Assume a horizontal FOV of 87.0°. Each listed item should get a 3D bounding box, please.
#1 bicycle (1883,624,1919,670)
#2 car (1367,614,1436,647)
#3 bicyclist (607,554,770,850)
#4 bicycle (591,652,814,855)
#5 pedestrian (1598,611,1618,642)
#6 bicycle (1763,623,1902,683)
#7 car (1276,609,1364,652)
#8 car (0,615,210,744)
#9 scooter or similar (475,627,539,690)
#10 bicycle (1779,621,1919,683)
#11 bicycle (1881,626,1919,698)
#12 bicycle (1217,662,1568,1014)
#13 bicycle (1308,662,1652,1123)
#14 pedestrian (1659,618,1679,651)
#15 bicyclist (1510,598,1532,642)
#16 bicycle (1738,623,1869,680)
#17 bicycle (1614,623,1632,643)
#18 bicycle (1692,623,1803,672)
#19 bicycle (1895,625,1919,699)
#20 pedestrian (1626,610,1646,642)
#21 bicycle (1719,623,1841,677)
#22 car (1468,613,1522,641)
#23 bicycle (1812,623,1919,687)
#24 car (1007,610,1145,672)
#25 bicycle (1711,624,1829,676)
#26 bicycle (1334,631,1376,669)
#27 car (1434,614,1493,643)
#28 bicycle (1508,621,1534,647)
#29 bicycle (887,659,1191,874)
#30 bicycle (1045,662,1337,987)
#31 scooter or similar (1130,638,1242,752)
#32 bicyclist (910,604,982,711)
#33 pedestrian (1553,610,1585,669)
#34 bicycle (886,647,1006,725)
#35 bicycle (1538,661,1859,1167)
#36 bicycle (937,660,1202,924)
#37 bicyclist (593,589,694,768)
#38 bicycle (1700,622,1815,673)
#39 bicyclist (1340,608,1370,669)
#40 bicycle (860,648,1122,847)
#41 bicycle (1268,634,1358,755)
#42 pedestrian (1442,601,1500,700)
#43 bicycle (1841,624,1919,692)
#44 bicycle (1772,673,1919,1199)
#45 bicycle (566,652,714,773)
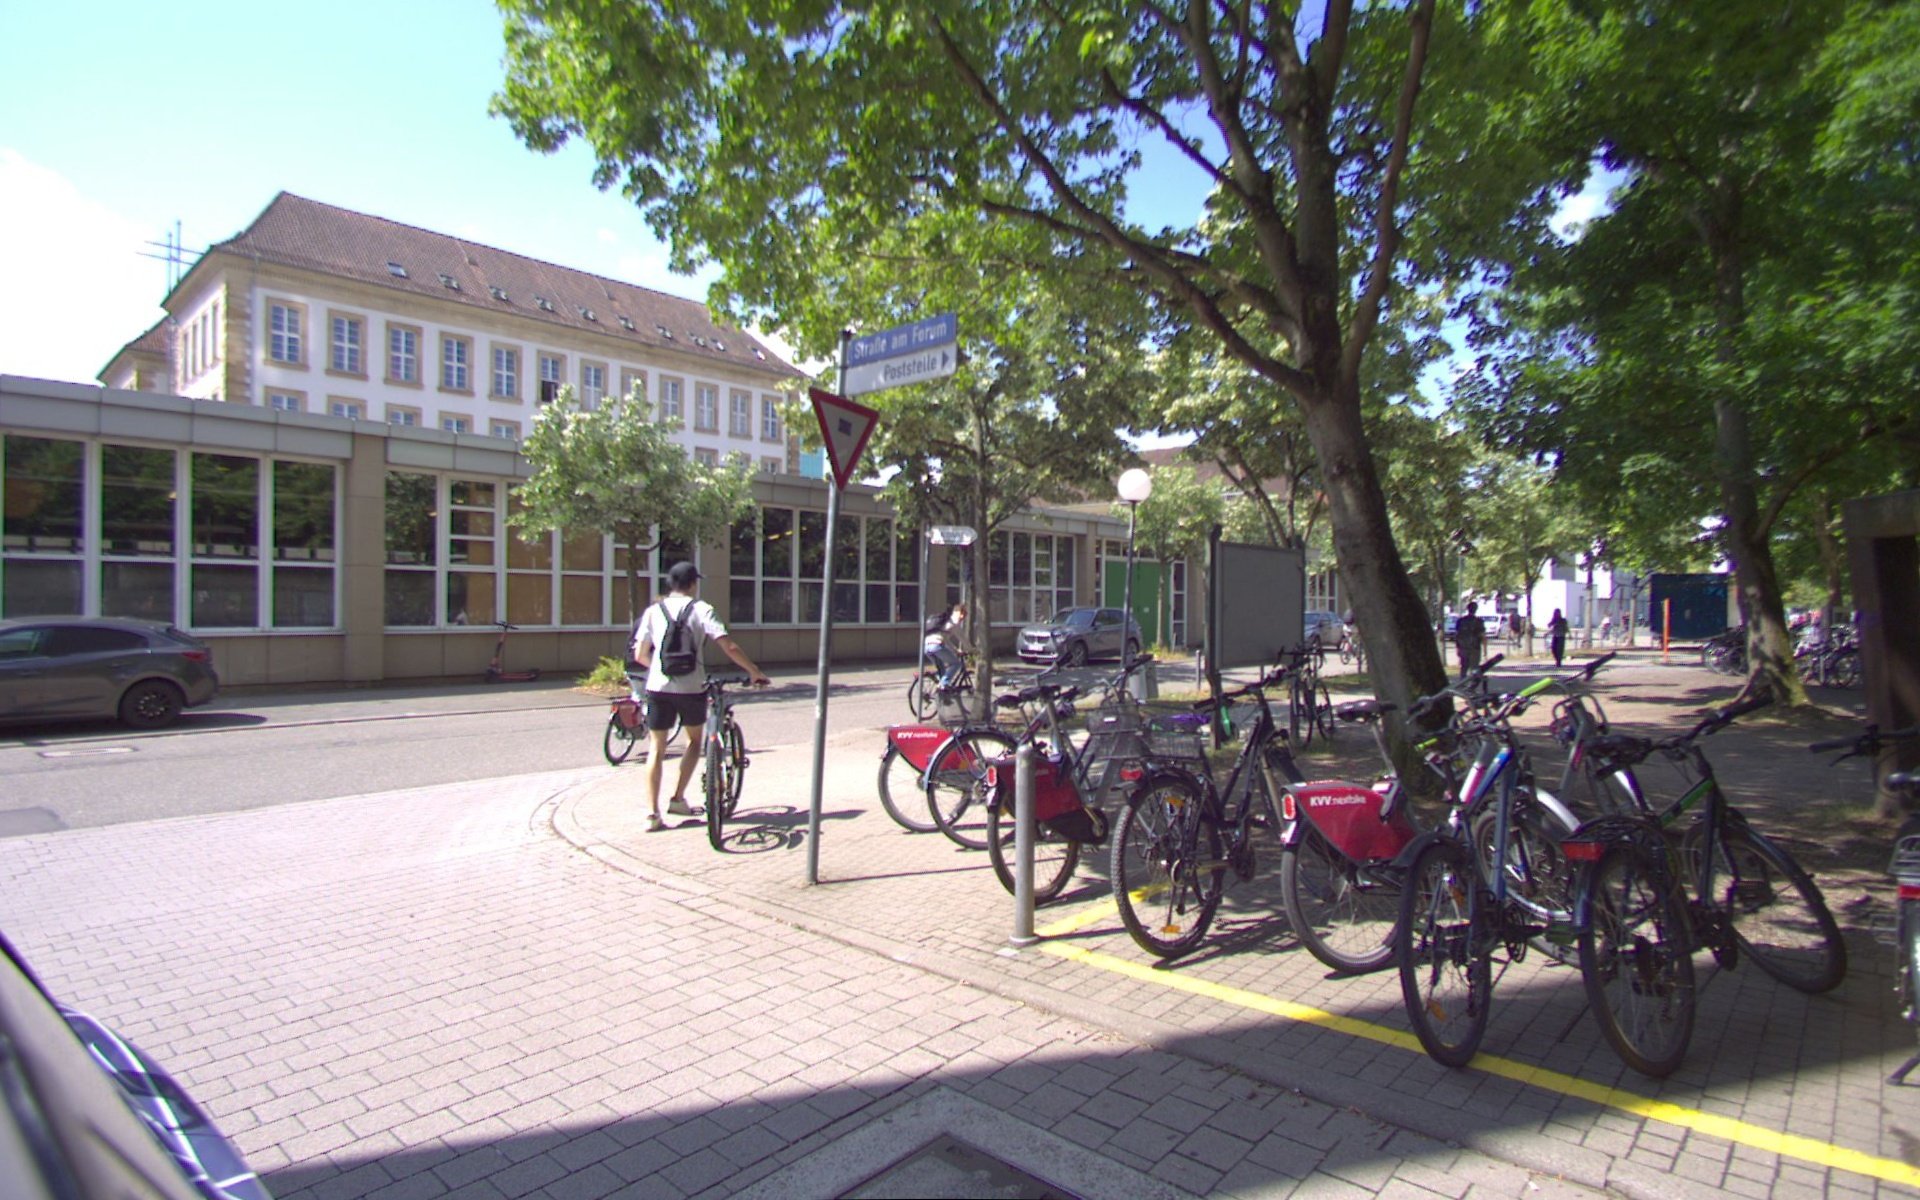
[{"bbox_3d":[23.684,1.143,24.532,1.849,1.092,0.470,0,0,27],"label":"bicycle"},{"bbox_3d":[21.510,1.456,49.216,1.837,1.553,4.477,-1,-2,41],"label":"car"},{"bbox_3d":[-1.905,0.646,7.076,0.792,1.906,0.869,-1,1,-38],"label":"bicyclist"},{"bbox_3d":[-1.839,0.978,7.004,0.792,1.181,1.890,1,-4,-38],"label":"bicycle"},{"bbox_3d":[37.564,1.528,58.708,0.764,1.788,0.901,0,0,20],"label":"pedestrian"},{"bbox_3d":[16.877,1.013,19.617,2.012,1.116,0.500,0,0,17],"label":"bicycle"},{"bbox_3d":[14.490,1.195,40.581,1.837,1.646,4.477,-1,-2,41],"label":"car"},{"bbox_3d":[-12.156,0.979,12.733,1.653,1.487,4.152,1,1,42],"label":"car"},{"bbox_3d":[-9.074,1.159,20.284,1.141,1.235,0.290,1,-2,-44],"label":"scooter or similar"},{"bbox_3d":[16.709,0.967,19.011,2.012,1.116,0.500,0,0,17],"label":"bicycle"},{"bbox_3d":[15.907,0.980,15.964,2.012,1.116,0.500,0,0,17],"label":"bicycle"},{"bbox_3d":[1.783,0.839,4.074,1.603,1.116,0.498,0,-2,-35],"label":"bicycle"},{"bbox_3d":[1.807,0.816,3.396,1.605,1.116,0.497,0,0,-42],"label":"bicycle"},{"bbox_3d":[32.702,1.582,46.699,0.725,1.531,0.622,0,0,-45],"label":"pedestrian"},{"bbox_3d":[24.513,0.876,44.223,0.669,1.889,0.817,-2,-2,37],"label":"bicyclist"},{"bbox_3d":[17.265,1.048,20.756,2.012,1.116,0.500,0,0,17],"label":"bicycle"},{"bbox_3d":[38.282,1.876,58.416,0.470,1.092,1.688,0,0,20],"label":"bicycle"},{"bbox_3d":[18.735,1.113,24.136,2.018,1.116,0.499,0,0,25],"label":"bicycle"},{"bbox_3d":[15.684,0.954,15.471,2.012,1.116,0.500,0,0,17],"label":"bicycle"},{"bbox_3d":[38.926,1.484,58.263,0.764,1.788,0.901,0,0,20],"label":"pedestrian"},{"bbox_3d":[17.741,1.065,21.930,2.012,1.116,0.500,0,0,17],"label":"bicycle"},{"bbox_3d":[31.403,1.551,59.374,1.837,1.553,4.477,-1,-2,41],"label":"car"},{"bbox_3d":[16.642,0.982,18.175,2.012,1.116,0.500,0,0,17],"label":"bicycle"},{"bbox_3d":[3.488,1.129,29.733,1.837,1.629,4.477,1,0,41],"label":"car"},{"bbox_3d":[18.004,1.100,22.531,2.012,1.116,0.500,0,0,17],"label":"bicycle"},{"bbox_3d":[12.059,1.507,30.875,0.604,1.116,2.045,-2,-2,38],"label":"bicycle"},{"bbox_3d":[27.488,1.540,55.225,1.837,1.553,4.477,-1,-2,41],"label":"car"},{"bbox_3d":[24.513,1.497,44.212,0.669,1.116,2.046,-2,-2,37],"label":"bicycle"},{"bbox_3d":[0.474,0.949,6.143,1.716,1.116,0.592,-1,-2,-19],"label":"bicycle"},{"bbox_3d":[1.074,0.862,4.451,0.497,1.116,1.607,-3,-3,42],"label":"bicycle"},{"bbox_3d":[2.476,1.026,11.087,1.166,1.204,0.293,0,-1,-11],"label":"scooter or similar"},{"bbox_3d":[-0.217,0.874,15.675,0.860,1.585,0.642,1,0,-34],"label":"bicyclist"},{"bbox_3d":[16.443,1.053,27.340,0.571,1.531,0.829,-1,0,43],"label":"pedestrian"},{"bbox_3d":[-0.199,1.304,15.701,1.789,1.116,0.642,1,0,-34],"label":"bicycle"},{"bbox_3d":[2.356,0.796,3.150,1.605,1.116,0.497,0,0,-42],"label":"bicycle"},{"bbox_3d":[0.625,0.899,5.284,0.497,1.116,1.607,-3,-3,42],"label":"bicycle"},{"bbox_3d":[-3.518,0.835,11.309,0.669,1.902,0.964,0,-1,16],"label":"bicyclist"},{"bbox_3d":[18.131,1.070,23.041,2.012,1.116,0.500,0,0,17],"label":"bicycle"},{"bbox_3d":[12.044,1.166,30.868,0.604,1.815,0.887,-2,-2,38],"label":"bicyclist"},{"bbox_3d":[0.198,0.932,6.779,1.602,1.168,0.641,-1,-2,-18],"label":"bicycle"},{"bbox_3d":[3.776,0.951,10.748,0.392,1.116,1.817,0,0,36],"label":"bicycle"},{"bbox_3d":[9.022,0.877,17.872,0.727,1.697,0.862,-1,-2,40],"label":"pedestrian"},{"bbox_3d":[16.241,0.981,17.102,2.012,1.116,0.500,0,0,17],"label":"bicycle"},{"bbox_3d":[2.767,0.819,2.765,1.605,1.116,0.630,0,0,-43],"label":"bicycle"},{"bbox_3d":[-3.514,1.197,11.295,0.669,1.149,1.877,0,-1,15],"label":"bicycle"}]
